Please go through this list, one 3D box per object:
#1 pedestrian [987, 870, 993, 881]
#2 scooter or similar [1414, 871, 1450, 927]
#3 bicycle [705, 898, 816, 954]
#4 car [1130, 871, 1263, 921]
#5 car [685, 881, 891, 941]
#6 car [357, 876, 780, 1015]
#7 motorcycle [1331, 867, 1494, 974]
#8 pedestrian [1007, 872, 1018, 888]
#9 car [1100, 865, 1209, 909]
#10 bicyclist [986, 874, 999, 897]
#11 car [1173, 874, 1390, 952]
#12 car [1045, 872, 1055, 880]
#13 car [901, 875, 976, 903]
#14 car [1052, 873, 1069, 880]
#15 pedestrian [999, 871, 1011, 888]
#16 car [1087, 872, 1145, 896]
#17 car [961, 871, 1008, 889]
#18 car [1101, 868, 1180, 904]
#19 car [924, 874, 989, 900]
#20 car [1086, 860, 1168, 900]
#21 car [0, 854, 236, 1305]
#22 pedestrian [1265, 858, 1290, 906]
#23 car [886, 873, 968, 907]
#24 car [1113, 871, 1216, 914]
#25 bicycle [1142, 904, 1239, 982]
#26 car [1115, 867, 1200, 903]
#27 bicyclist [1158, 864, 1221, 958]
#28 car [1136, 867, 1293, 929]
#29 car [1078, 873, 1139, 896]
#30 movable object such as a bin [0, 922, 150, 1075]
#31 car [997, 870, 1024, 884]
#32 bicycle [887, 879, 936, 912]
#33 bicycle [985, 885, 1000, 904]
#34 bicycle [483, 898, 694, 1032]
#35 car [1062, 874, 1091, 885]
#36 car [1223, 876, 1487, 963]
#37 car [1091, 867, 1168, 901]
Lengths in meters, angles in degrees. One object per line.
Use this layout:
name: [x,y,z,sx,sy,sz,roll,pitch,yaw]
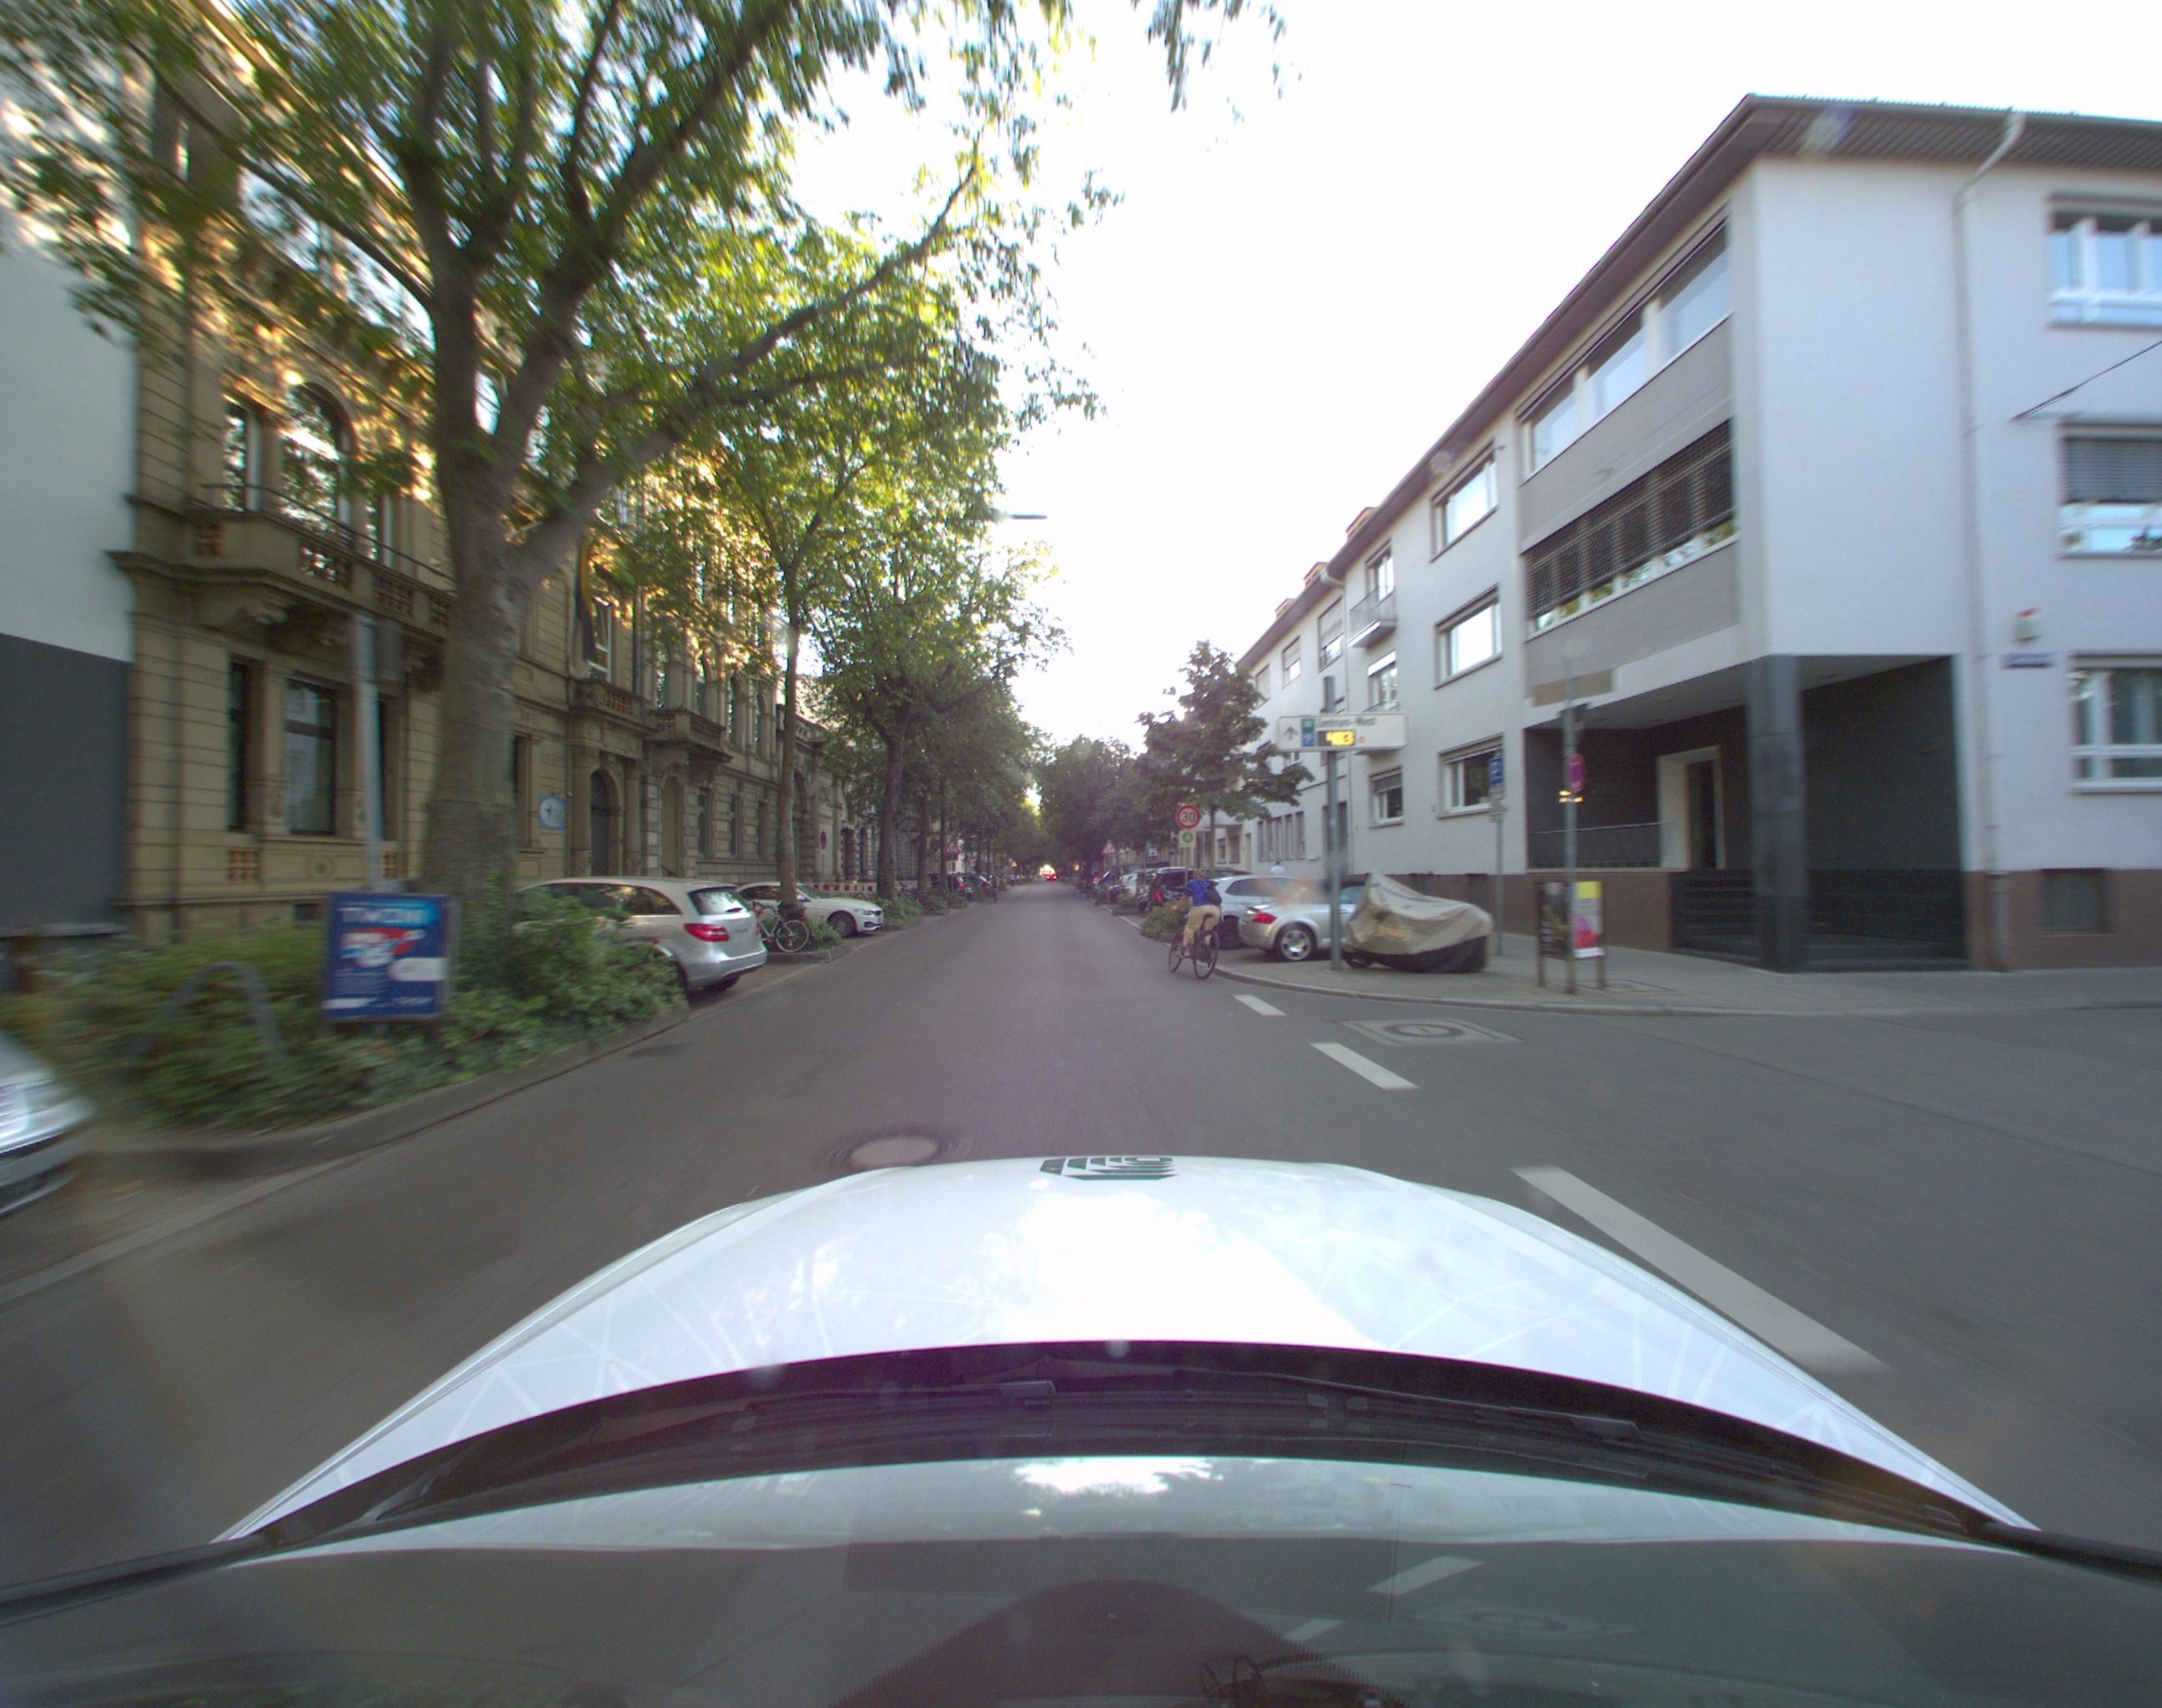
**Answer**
pedestrian: [-13.992,3.296,125.133,0.697,1.757,0.743,-2,-2,21]
scooter or similar: [8.040,1.004,18.688,0.344,1.239,1.423,-1,-1,7]
bicycle: [-5.904,1.321,15.055,1.790,1.009,0.598,0,-2,-3]
car: [3.996,1.441,28.542,4.306,1.496,1.791,-2,-2,-4]
car: [-7.285,1.403,20.633,4.500,1.390,1.915,-1,-2,-2]
car: [-6.250,1.080,10.326,4.157,1.557,1.826,0,-2,-1]
motorcycle: [4.539,0.909,11.325,1.895,1.392,1.002,-2,-2,10]
pedestrian: [-7.206,2.712,85.422,0.820,1.671,0.802,-3,-2,41]
car: [3.255,1.473,36.751,4.582,1.578,1.941,-4,-2,-4]
bicyclist: [-4.954,1.743,45.658,0.670,1.264,0.647,-1,-1,-3]
car: [3.998,1.160,16.715,3.977,1.438,1.792,-1,-1,-3]
car: [-6.321,4.557,168.043,1.952,1.565,4.277,-3,-2,-2]
car: [-8.071,1.991,46.385,3.955,1.387,1.763,2,-1,-2]
car: [-5.183,5.734,207.216,4.259,1.565,1.960,-3,-2,-3]
pedestrian: [-7.934,2.713,84.986,0.820,1.737,0.802,-3,-2,41]
car: [2.539,2.213,59.653,3.980,1.438,1.923,-4,-2,-5]
car: [-9.432,2.562,79.693,4.414,1.651,1.871,1,-1,-2]
car: [3.167,1.713,44.114,3.958,1.578,1.848,-4,-2,-4]
car: [-8.445,2.214,55.573,4.191,1.672,1.905,1,-1,-3]
car: [2.757,1.586,49.566,4.680,2.011,2.034,-4,-2,-4]
car: [-6.298,0.809,2.827,4.417,1.722,1.887,1,-2,-5]
pedestrian: [7.437,1.052,30.840,0.695,1.795,0.880,-1,-1,-2]
car: [-8.103,1.906,43.147,3.956,1.597,1.778,3,-2,-3]
car: [3.487,1.597,34.363,4.062,1.429,1.817,-4,-2,-1]
bicycle: [1.612,1.305,12.371,0.674,1.030,1.964,1,-2,-18]
car: [3.657,1.481,39.478,3.786,1.423,1.695,-4,-2,-4]
bicyclist: [1.634,0.847,12.342,0.674,1.364,0.771,1,-2,-19]
car: [3.705,1.224,23.193,4.099,1.617,1.959,-1,-1,-3]
car: [2.097,2.287,62.080,4.394,1.394,1.882,-4,-2,-5]
movable object such as a bin: [-8.364,1.109,6.317,0.773,1.062,1.315,-1,-1,-3]
car: [-12.455,4.044,143.745,4.671,2.478,1.997,-1,-2,-3]
bicycle: [-6.589,1.617,31.649,1.764,1.232,0.500,-1,-3,2]
bicycle: [-4.945,2.271,45.603,0.670,0.994,1.756,-1,-1,-2]
bicycle: [-5.315,1.167,8.908,1.793,1.326,0.771,0,-1,-9]
car: [-0.741,4.299,135.894,4.704,1.710,1.948,-1,-1,-2]
car: [4.598,1.091,14.124,3.974,1.333,1.794,-1,-1,0]
car: [2.780,1.719,47.195,4.148,1.578,1.966,-4,-2,-5]
